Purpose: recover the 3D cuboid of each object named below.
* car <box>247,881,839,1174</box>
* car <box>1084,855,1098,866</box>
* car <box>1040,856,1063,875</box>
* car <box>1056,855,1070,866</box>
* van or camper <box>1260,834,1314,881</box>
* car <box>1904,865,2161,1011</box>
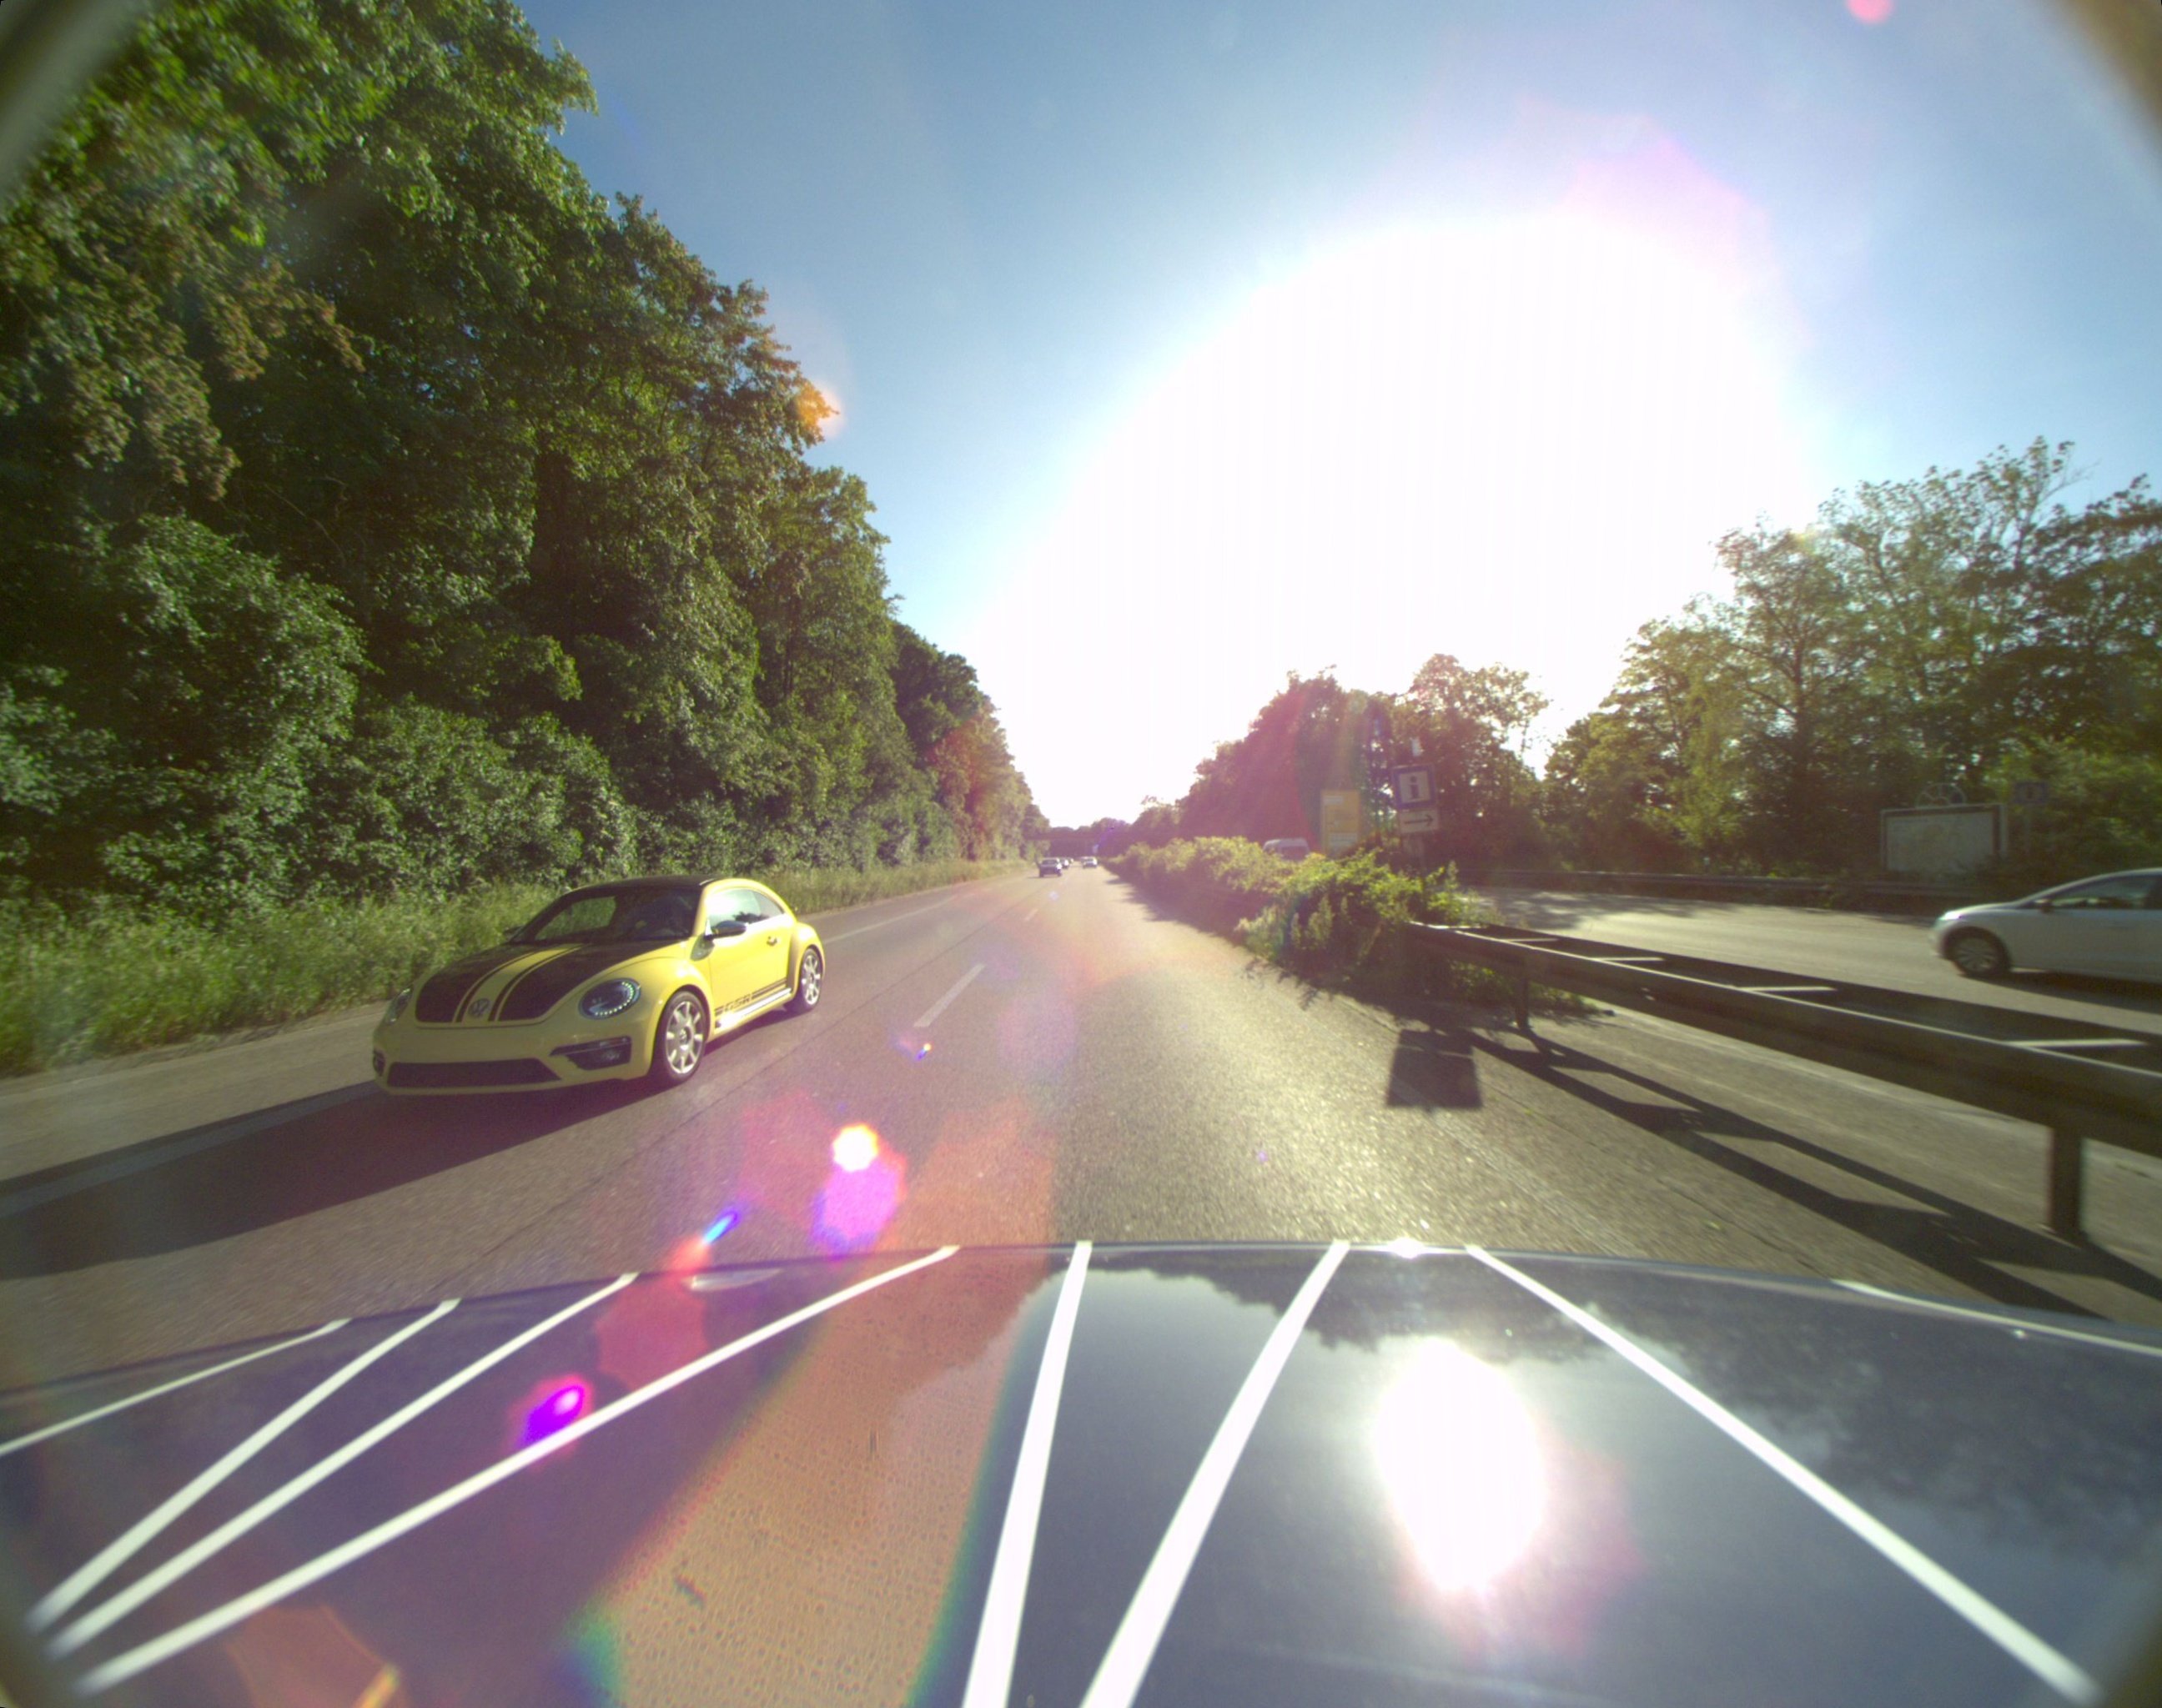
[{"bbox_3d":[-3.727,1.059,6.468,1.884,1.453,4.356,-1,0,0],"label":"car"},{"bbox_3d":[1.331,0.831,103.156,1.904,1.453,4.355,0,0,-1],"label":"car"},{"bbox_3d":[-2.437,0.965,63.787,1.801,1.453,4.355,-1,0,-1],"label":"car"},{"bbox_3d":[-2.383,0.839,100.110,1.801,1.453,4.355,0,0,-1],"label":"car"},{"bbox_3d":[12.583,0.183,46.733,1.998,2.706,5.253,-1,0,1],"label":"van or camper"},{"bbox_3d":[12.388,0.907,8.361,1.965,1.441,4.326,-2,0,0],"label":"car"}]
